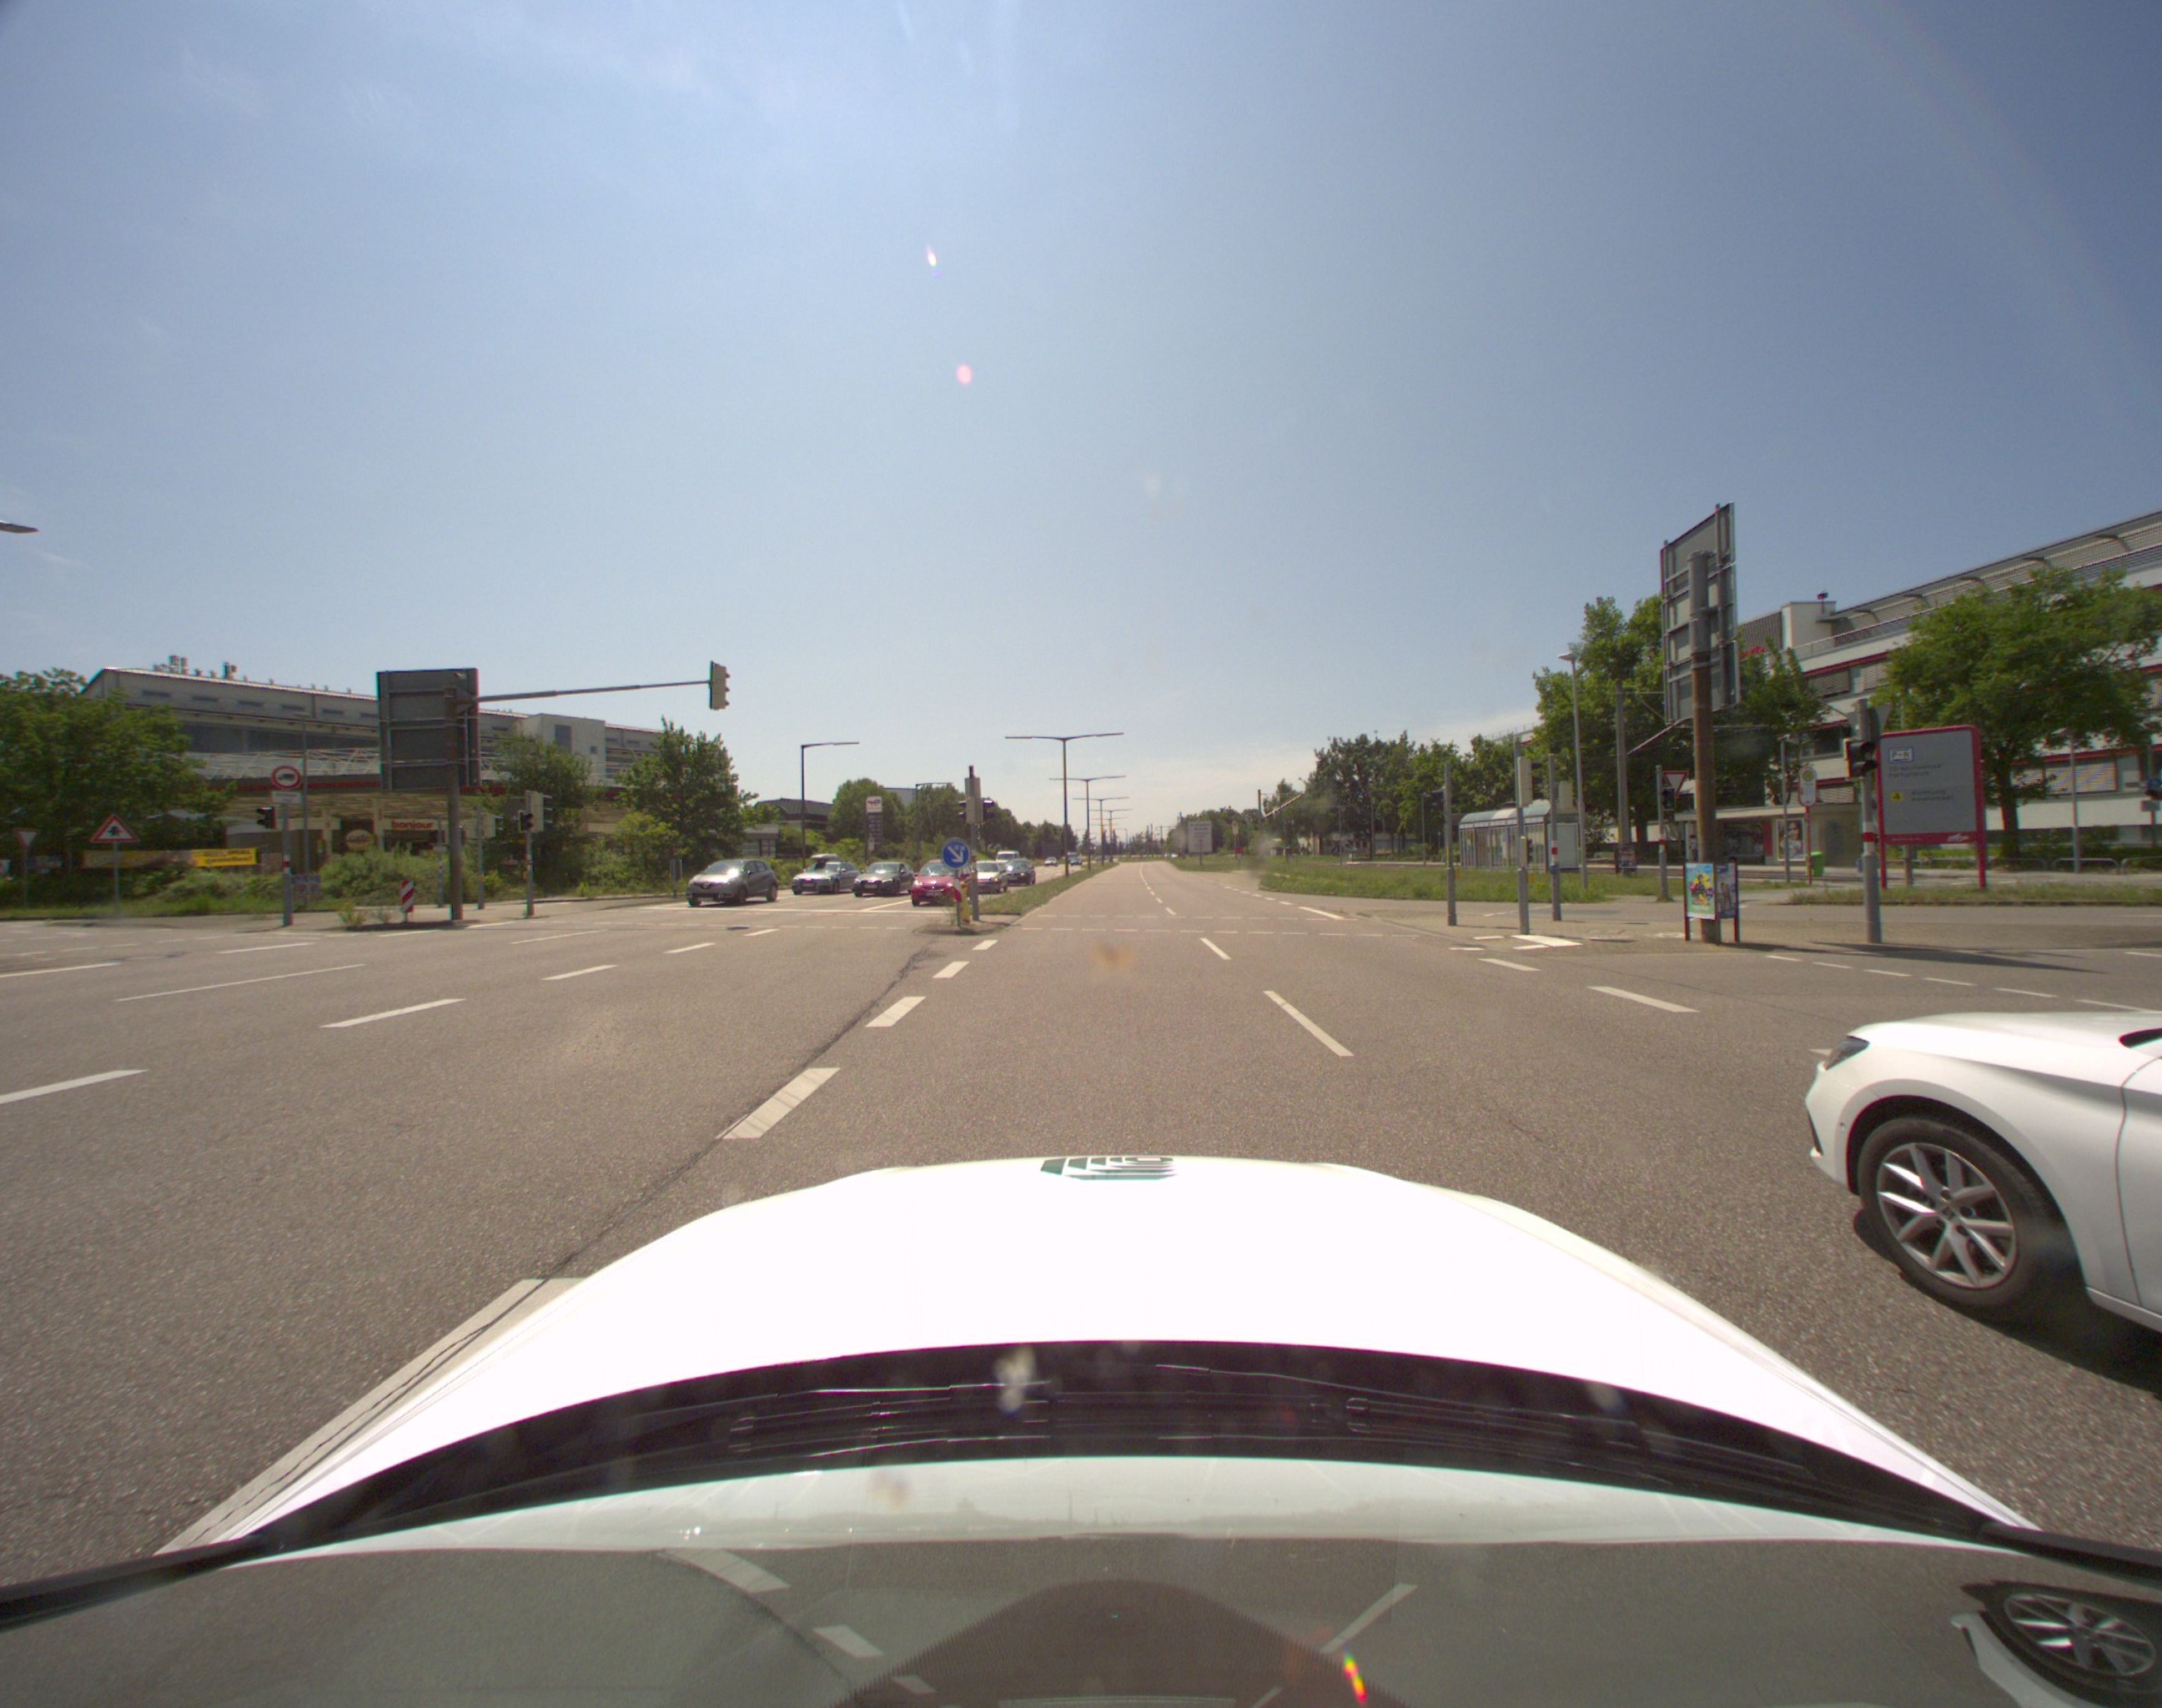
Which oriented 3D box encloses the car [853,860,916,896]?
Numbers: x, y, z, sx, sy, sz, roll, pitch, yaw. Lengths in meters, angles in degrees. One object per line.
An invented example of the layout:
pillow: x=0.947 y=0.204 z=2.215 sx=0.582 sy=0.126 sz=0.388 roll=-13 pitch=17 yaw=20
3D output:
car: x=-8.261 y=0.981 z=34.504 sx=1.591 sy=1.385 sz=4.004 roll=0 pitch=0 yaw=1

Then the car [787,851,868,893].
car: x=-11.413 y=0.783 z=37.106 sx=1.957 sy=1.750 sz=5.023 roll=-1 pitch=0 yaw=1

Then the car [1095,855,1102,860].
car: x=5.342 y=1.071 z=252.301 sx=1.985 sy=1.360 sz=4.670 roll=-3 pitch=0 yaw=4

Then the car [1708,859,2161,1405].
car: x=3.650 y=0.726 z=1.429 sx=1.677 sy=1.390 sz=4.450 roll=-1 pitch=0 yaw=0

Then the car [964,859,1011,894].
car: x=-4.110 y=0.951 z=36.234 sx=1.555 sy=1.423 sz=3.855 roll=-1 pitch=0 yaw=1

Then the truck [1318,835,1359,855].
truck: x=42.126 y=-1.477 z=133.214 sx=5.830 sy=2.843 sz=2.316 roll=-3 pitch=-1 yaw=-5

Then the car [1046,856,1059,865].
car: x=-4.621 y=1.072 z=133.047 sx=1.824 sy=1.449 sz=4.854 roll=-2 pitch=0 yaw=2

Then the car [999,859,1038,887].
car: x=-3.405 y=1.024 z=45.070 sx=1.669 sy=1.434 sz=4.193 roll=-1 pitch=0 yaw=2

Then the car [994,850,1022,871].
car: x=-7.914 y=0.688 z=88.577 sx=2.239 sy=2.273 sz=5.454 roll=0 pitch=0 yaw=4

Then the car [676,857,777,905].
car: x=-12.132 y=0.883 z=28.144 sx=1.652 sy=1.539 sz=4.001 roll=0 pitch=0 yaw=1

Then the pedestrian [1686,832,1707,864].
pedestrian: x=30.939 y=-0.307 z=40.946 sx=0.549 sy=1.608 sz=0.691 roll=0 pitch=-1 yaw=4

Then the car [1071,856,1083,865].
car: x=-0.665 y=1.068 z=137.202 sx=1.724 sy=1.458 sz=4.568 roll=-2 pitch=0 yaw=3

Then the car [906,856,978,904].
car: x=-4.685 y=0.848 z=28.024 sx=1.652 sy=1.490 sz=4.001 roll=-1 pitch=0 yaw=1
